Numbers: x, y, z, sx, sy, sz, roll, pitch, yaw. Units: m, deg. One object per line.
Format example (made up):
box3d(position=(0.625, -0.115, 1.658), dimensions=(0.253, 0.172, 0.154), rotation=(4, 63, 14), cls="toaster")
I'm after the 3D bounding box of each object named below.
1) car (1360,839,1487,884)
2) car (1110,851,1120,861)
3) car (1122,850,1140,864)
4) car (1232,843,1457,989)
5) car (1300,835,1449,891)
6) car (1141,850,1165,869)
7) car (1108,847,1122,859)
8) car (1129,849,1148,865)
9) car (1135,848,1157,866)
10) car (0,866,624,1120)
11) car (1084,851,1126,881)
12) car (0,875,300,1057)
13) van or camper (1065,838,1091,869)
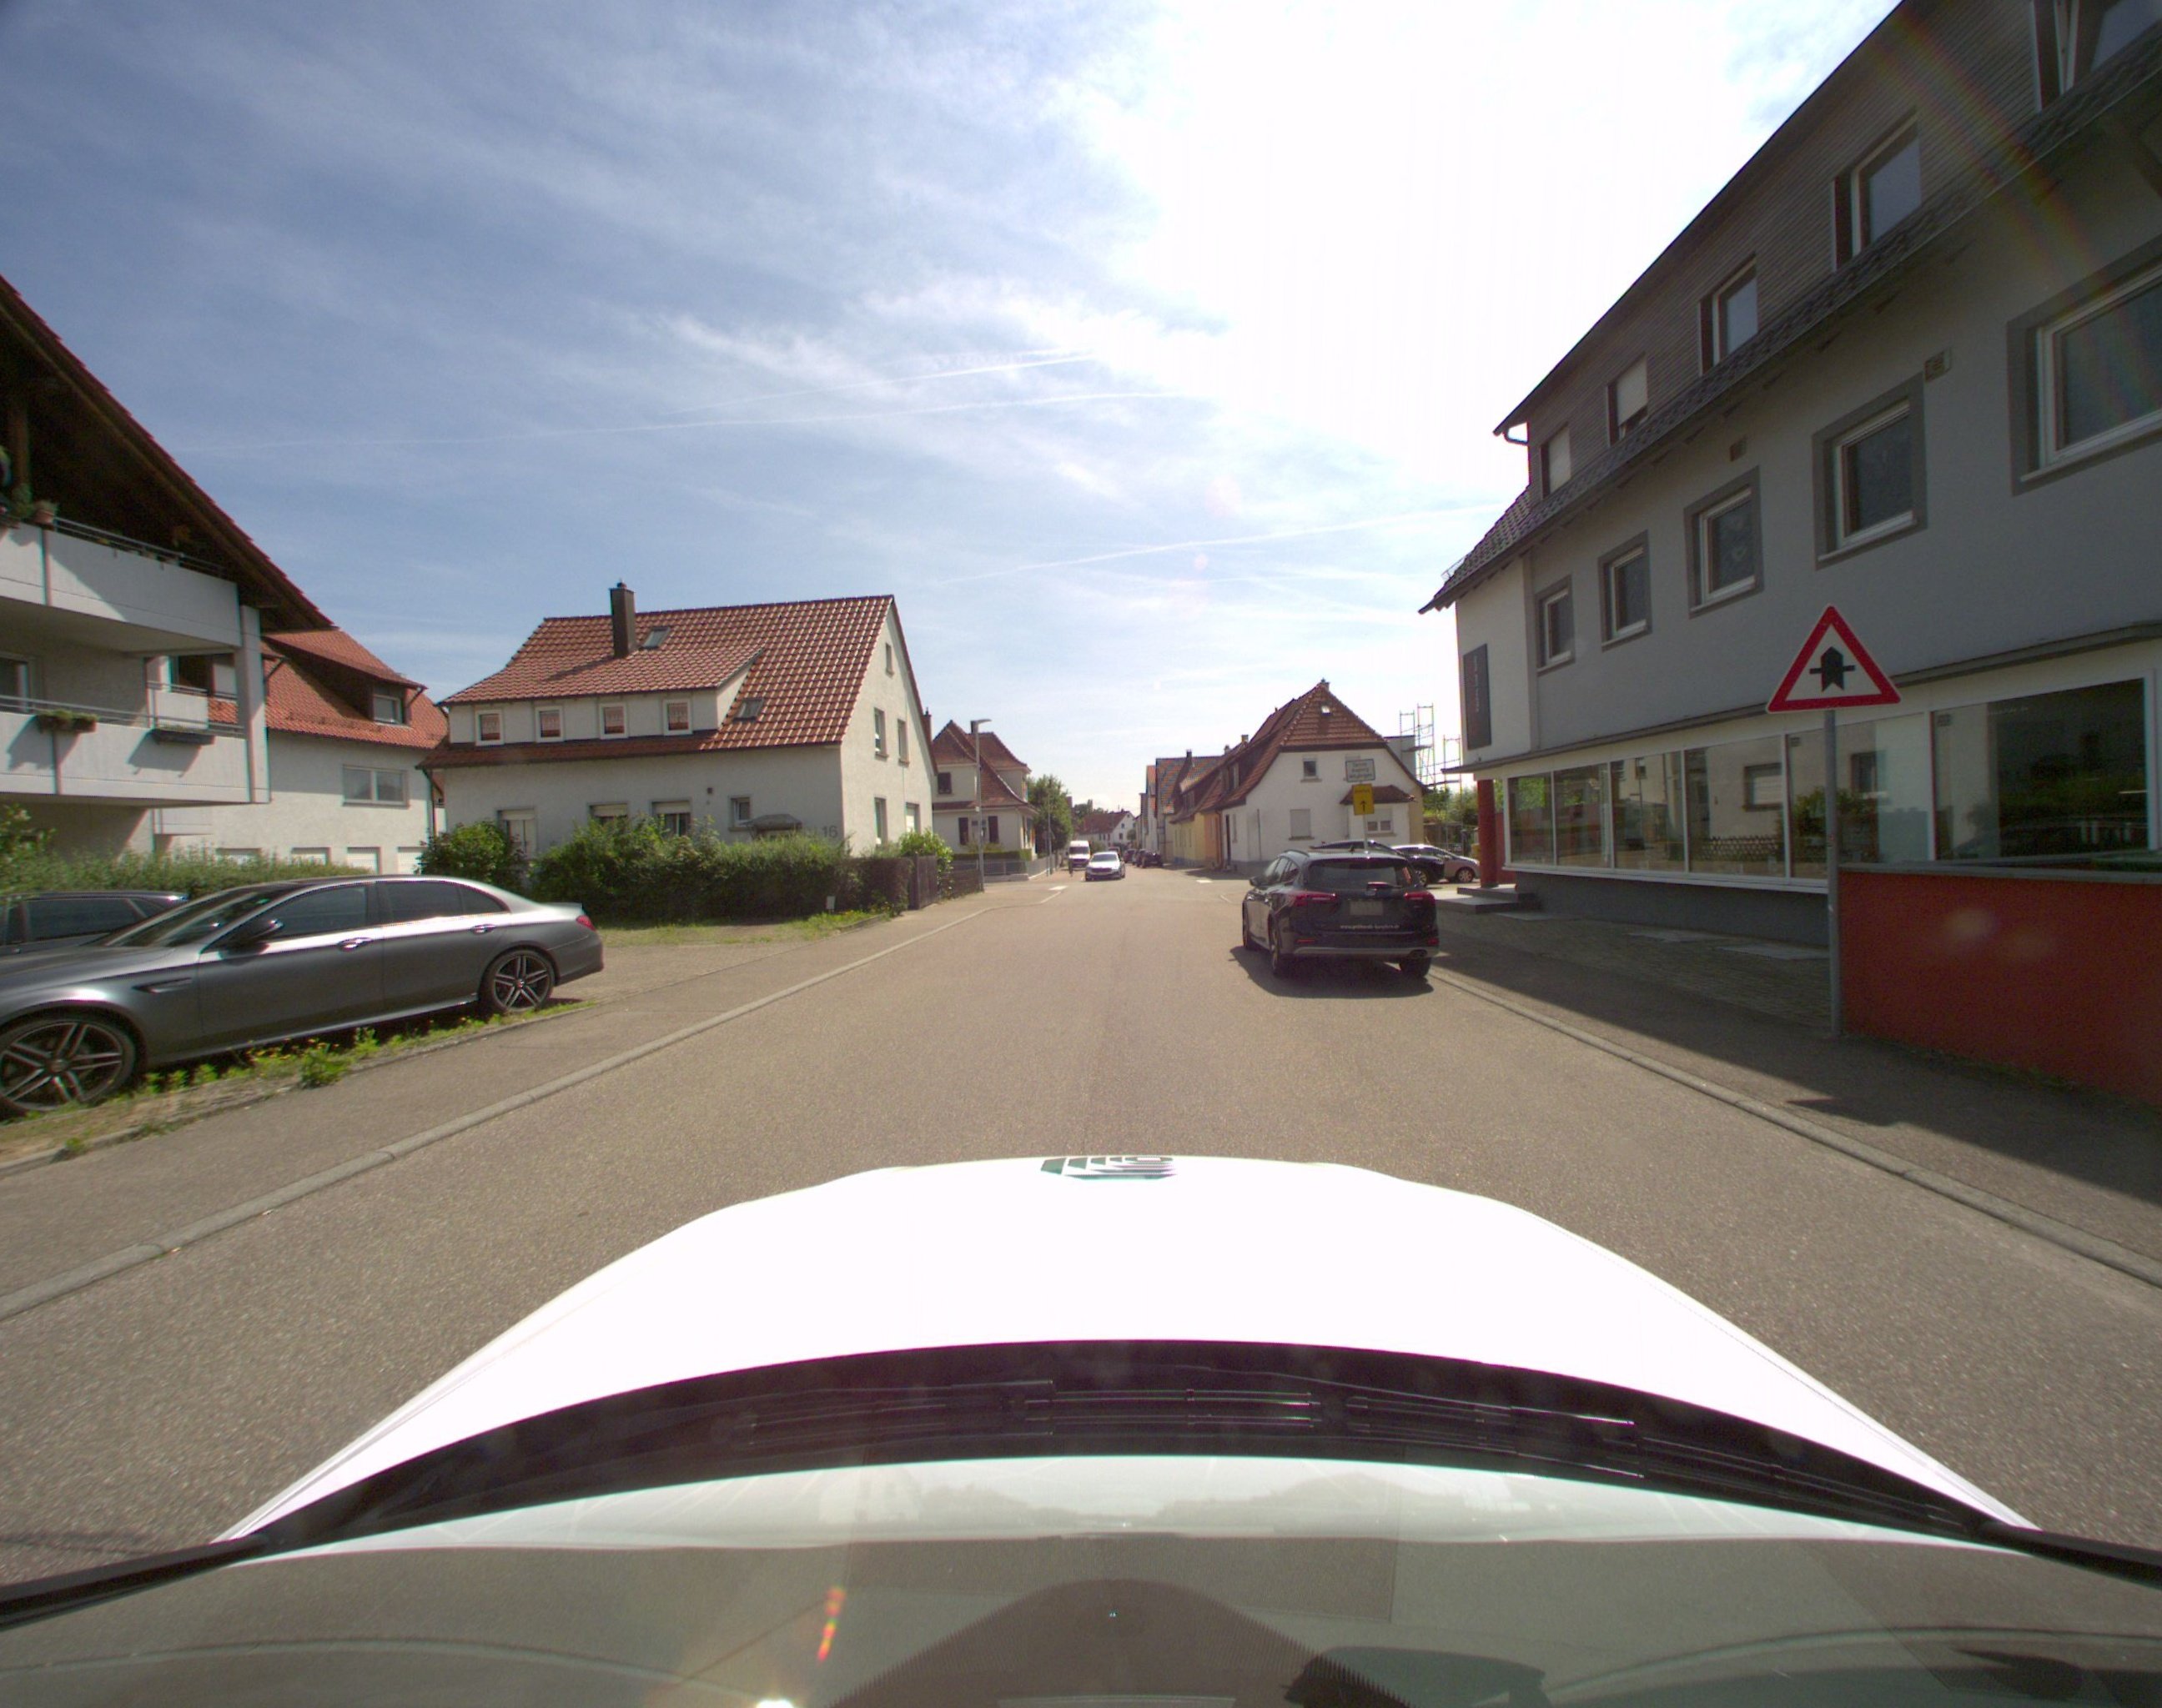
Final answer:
box3d(position=(12.584, 0.285, 30.115), dimensions=(3.967, 1.504, 1.697), rotation=(-2, 0, 6), cls="car")
box3d(position=(5.552, 0.311, 131.724), dimensions=(1.509, 1.567, 3.188), rotation=(-2, 0, 4), cls="car")
box3d(position=(6.153, 0.343, 100.508), dimensions=(1.870, 1.700, 4.181), rotation=(-2, 0, -1), cls="car")
box3d(position=(3.196, 0.648, 10.814), dimensions=(1.754, 1.527, 4.409), rotation=(-1, 0, 3), cls="car")
box3d(position=(9.433, 0.293, 26.478), dimensions=(4.268, 1.653, 1.852), rotation=(-2, 0, 8), cls="car")
box3d(position=(5.955, 0.434, 67.886), dimensions=(1.606, 1.431, 3.752), rotation=(-2, 0, -1), cls="car")
box3d(position=(6.121, -0.187, 145.937), dimensions=(2.118, 2.158, 4.745), rotation=(-3, 0, 7), cls="car")
box3d(position=(6.061, 0.310, 85.605), dimensions=(1.669, 1.559, 3.038), rotation=(-2, 0, -1), cls="car")
box3d(position=(5.890, 0.260, 73.665), dimensions=(1.722, 1.599, 4.254), rotation=(-2, 0, 1), cls="car")
box3d(position=(-6.755, 0.908, 7.223), dimensions=(1.811, 1.432, 4.586), rotation=(-2, 0, 20), cls="car")
box3d(position=(1.329, 0.594, 42.826), dimensions=(1.744, 1.438, 4.597), rotation=(-2, 0, 7), cls="car")
box3d(position=(-10.120, 1.040, 7.603), dimensions=(1.674, 1.501, 3.673), rotation=(-2, 0, 24), cls="car")
box3d(position=(-0.208, -0.075, 73.427), dimensions=(2.177, 2.571, 6.807), rotation=(-1, 0, 0), cls="van or camper")
